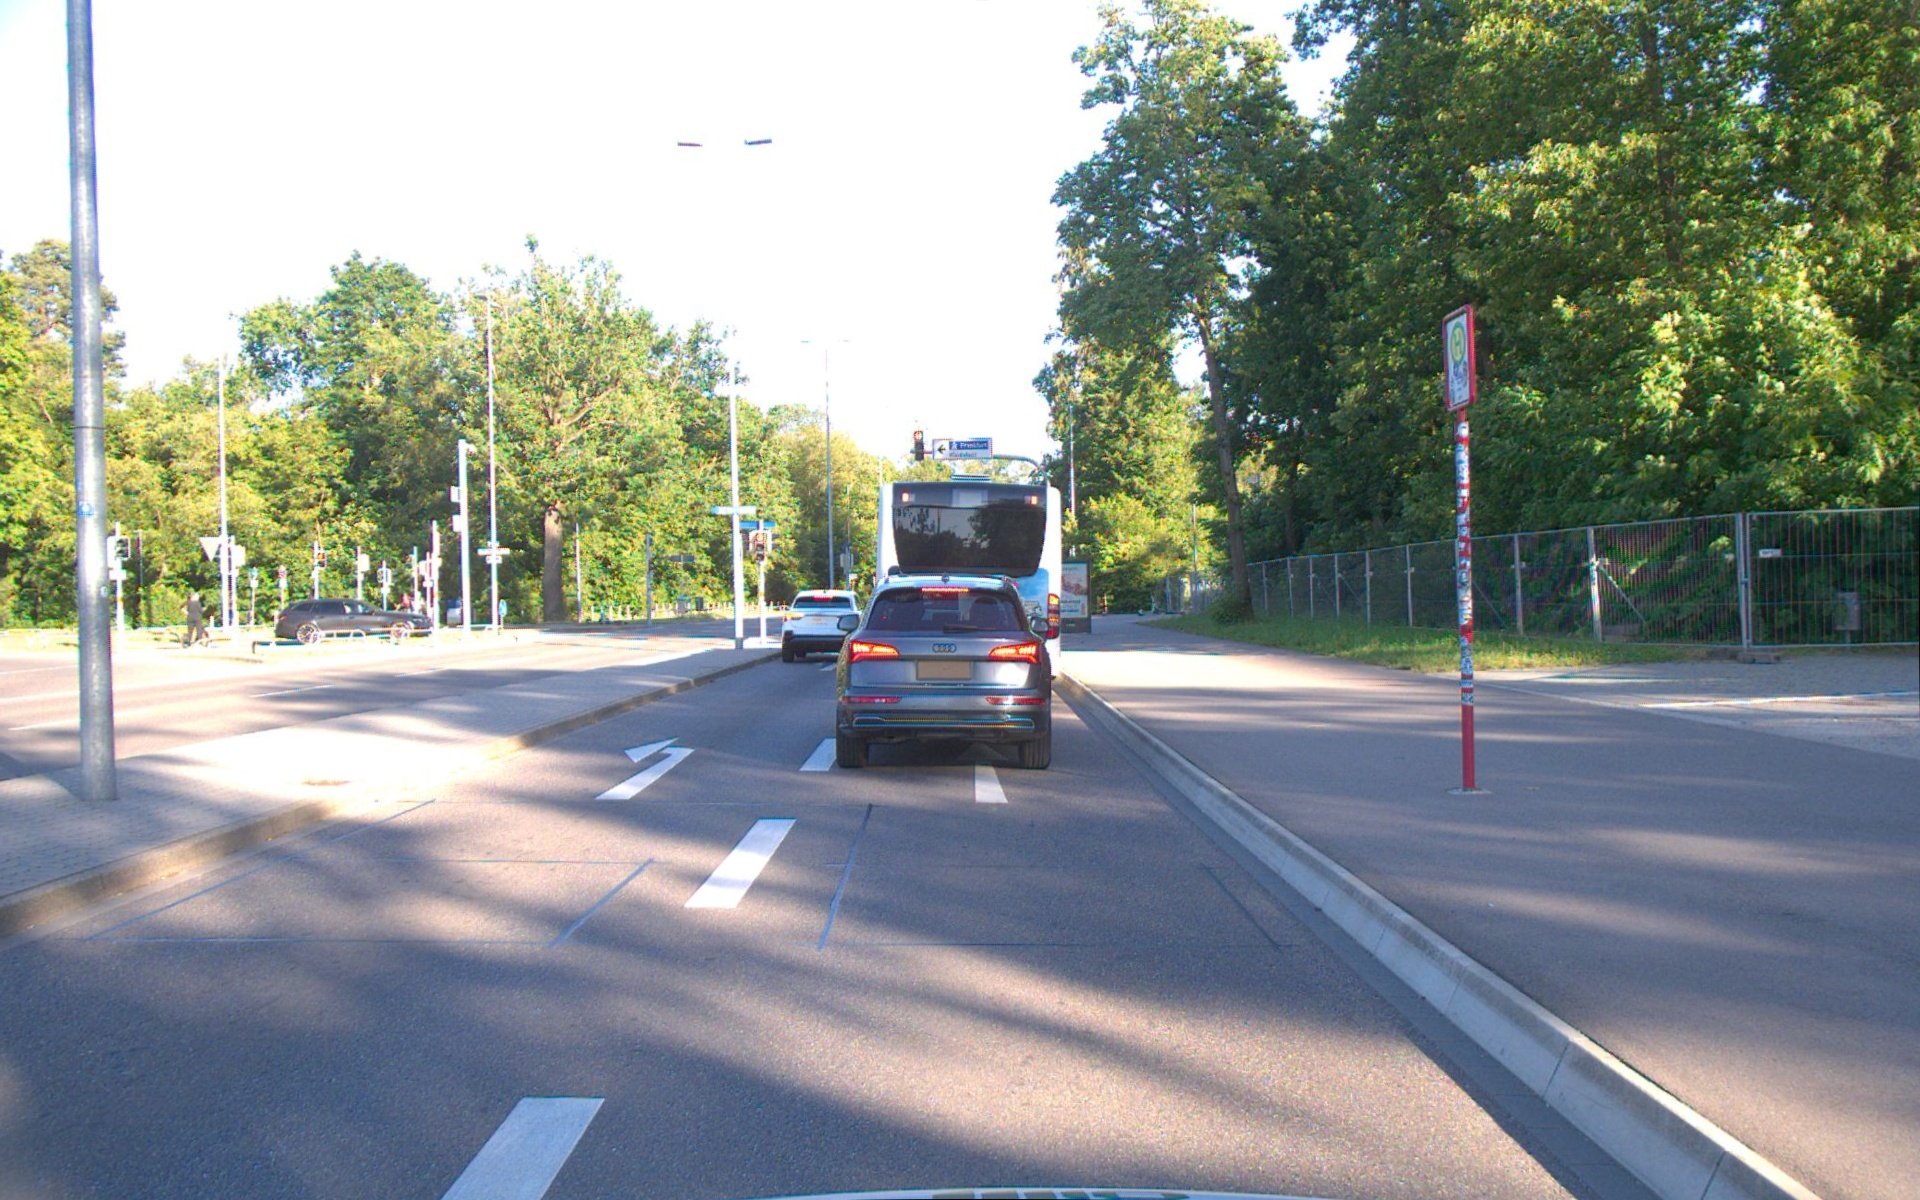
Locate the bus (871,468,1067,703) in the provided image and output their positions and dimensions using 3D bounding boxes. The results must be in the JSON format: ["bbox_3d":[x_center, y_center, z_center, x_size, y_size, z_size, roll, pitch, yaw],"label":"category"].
[{"bbox_3d":[0.092,-0.165,26.204,2.542,3.041,9.325,0,0,0],"label":"bus"}]

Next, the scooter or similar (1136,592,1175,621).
[{"bbox_3d":[10.352,0.344,87.689,1.990,1.469,0.601,-2,0,-25],"label":"scooter or similar"}]

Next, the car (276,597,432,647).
[{"bbox_3d":[-20.557,0.736,56.327,4.690,1.524,1.994,-2,0,-12],"label":"car"}]

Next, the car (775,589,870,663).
[{"bbox_3d":[-3.012,0.543,36.995,1.799,1.545,4.000,-1,0,0],"label":"car"}]

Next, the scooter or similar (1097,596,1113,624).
[{"bbox_3d":[7.909,0.527,90.219,0.498,1.469,2.020,-2,0,-5],"label":"scooter or similar"}]

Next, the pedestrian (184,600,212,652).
[{"bbox_3d":[-23.778,0.811,51.589,0.643,1.587,0.531,-1,0,-43],"label":"pedestrian"}]

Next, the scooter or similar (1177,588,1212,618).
[{"bbox_3d":[12.610,0.169,88.990,0.535,1.594,1.993,-2,0,-39],"label":"scooter or similar"}]

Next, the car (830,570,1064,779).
[{"bbox_3d":[-0.115,0.586,15.228,1.860,1.660,4.000,1,0,0],"label":"car"}]
